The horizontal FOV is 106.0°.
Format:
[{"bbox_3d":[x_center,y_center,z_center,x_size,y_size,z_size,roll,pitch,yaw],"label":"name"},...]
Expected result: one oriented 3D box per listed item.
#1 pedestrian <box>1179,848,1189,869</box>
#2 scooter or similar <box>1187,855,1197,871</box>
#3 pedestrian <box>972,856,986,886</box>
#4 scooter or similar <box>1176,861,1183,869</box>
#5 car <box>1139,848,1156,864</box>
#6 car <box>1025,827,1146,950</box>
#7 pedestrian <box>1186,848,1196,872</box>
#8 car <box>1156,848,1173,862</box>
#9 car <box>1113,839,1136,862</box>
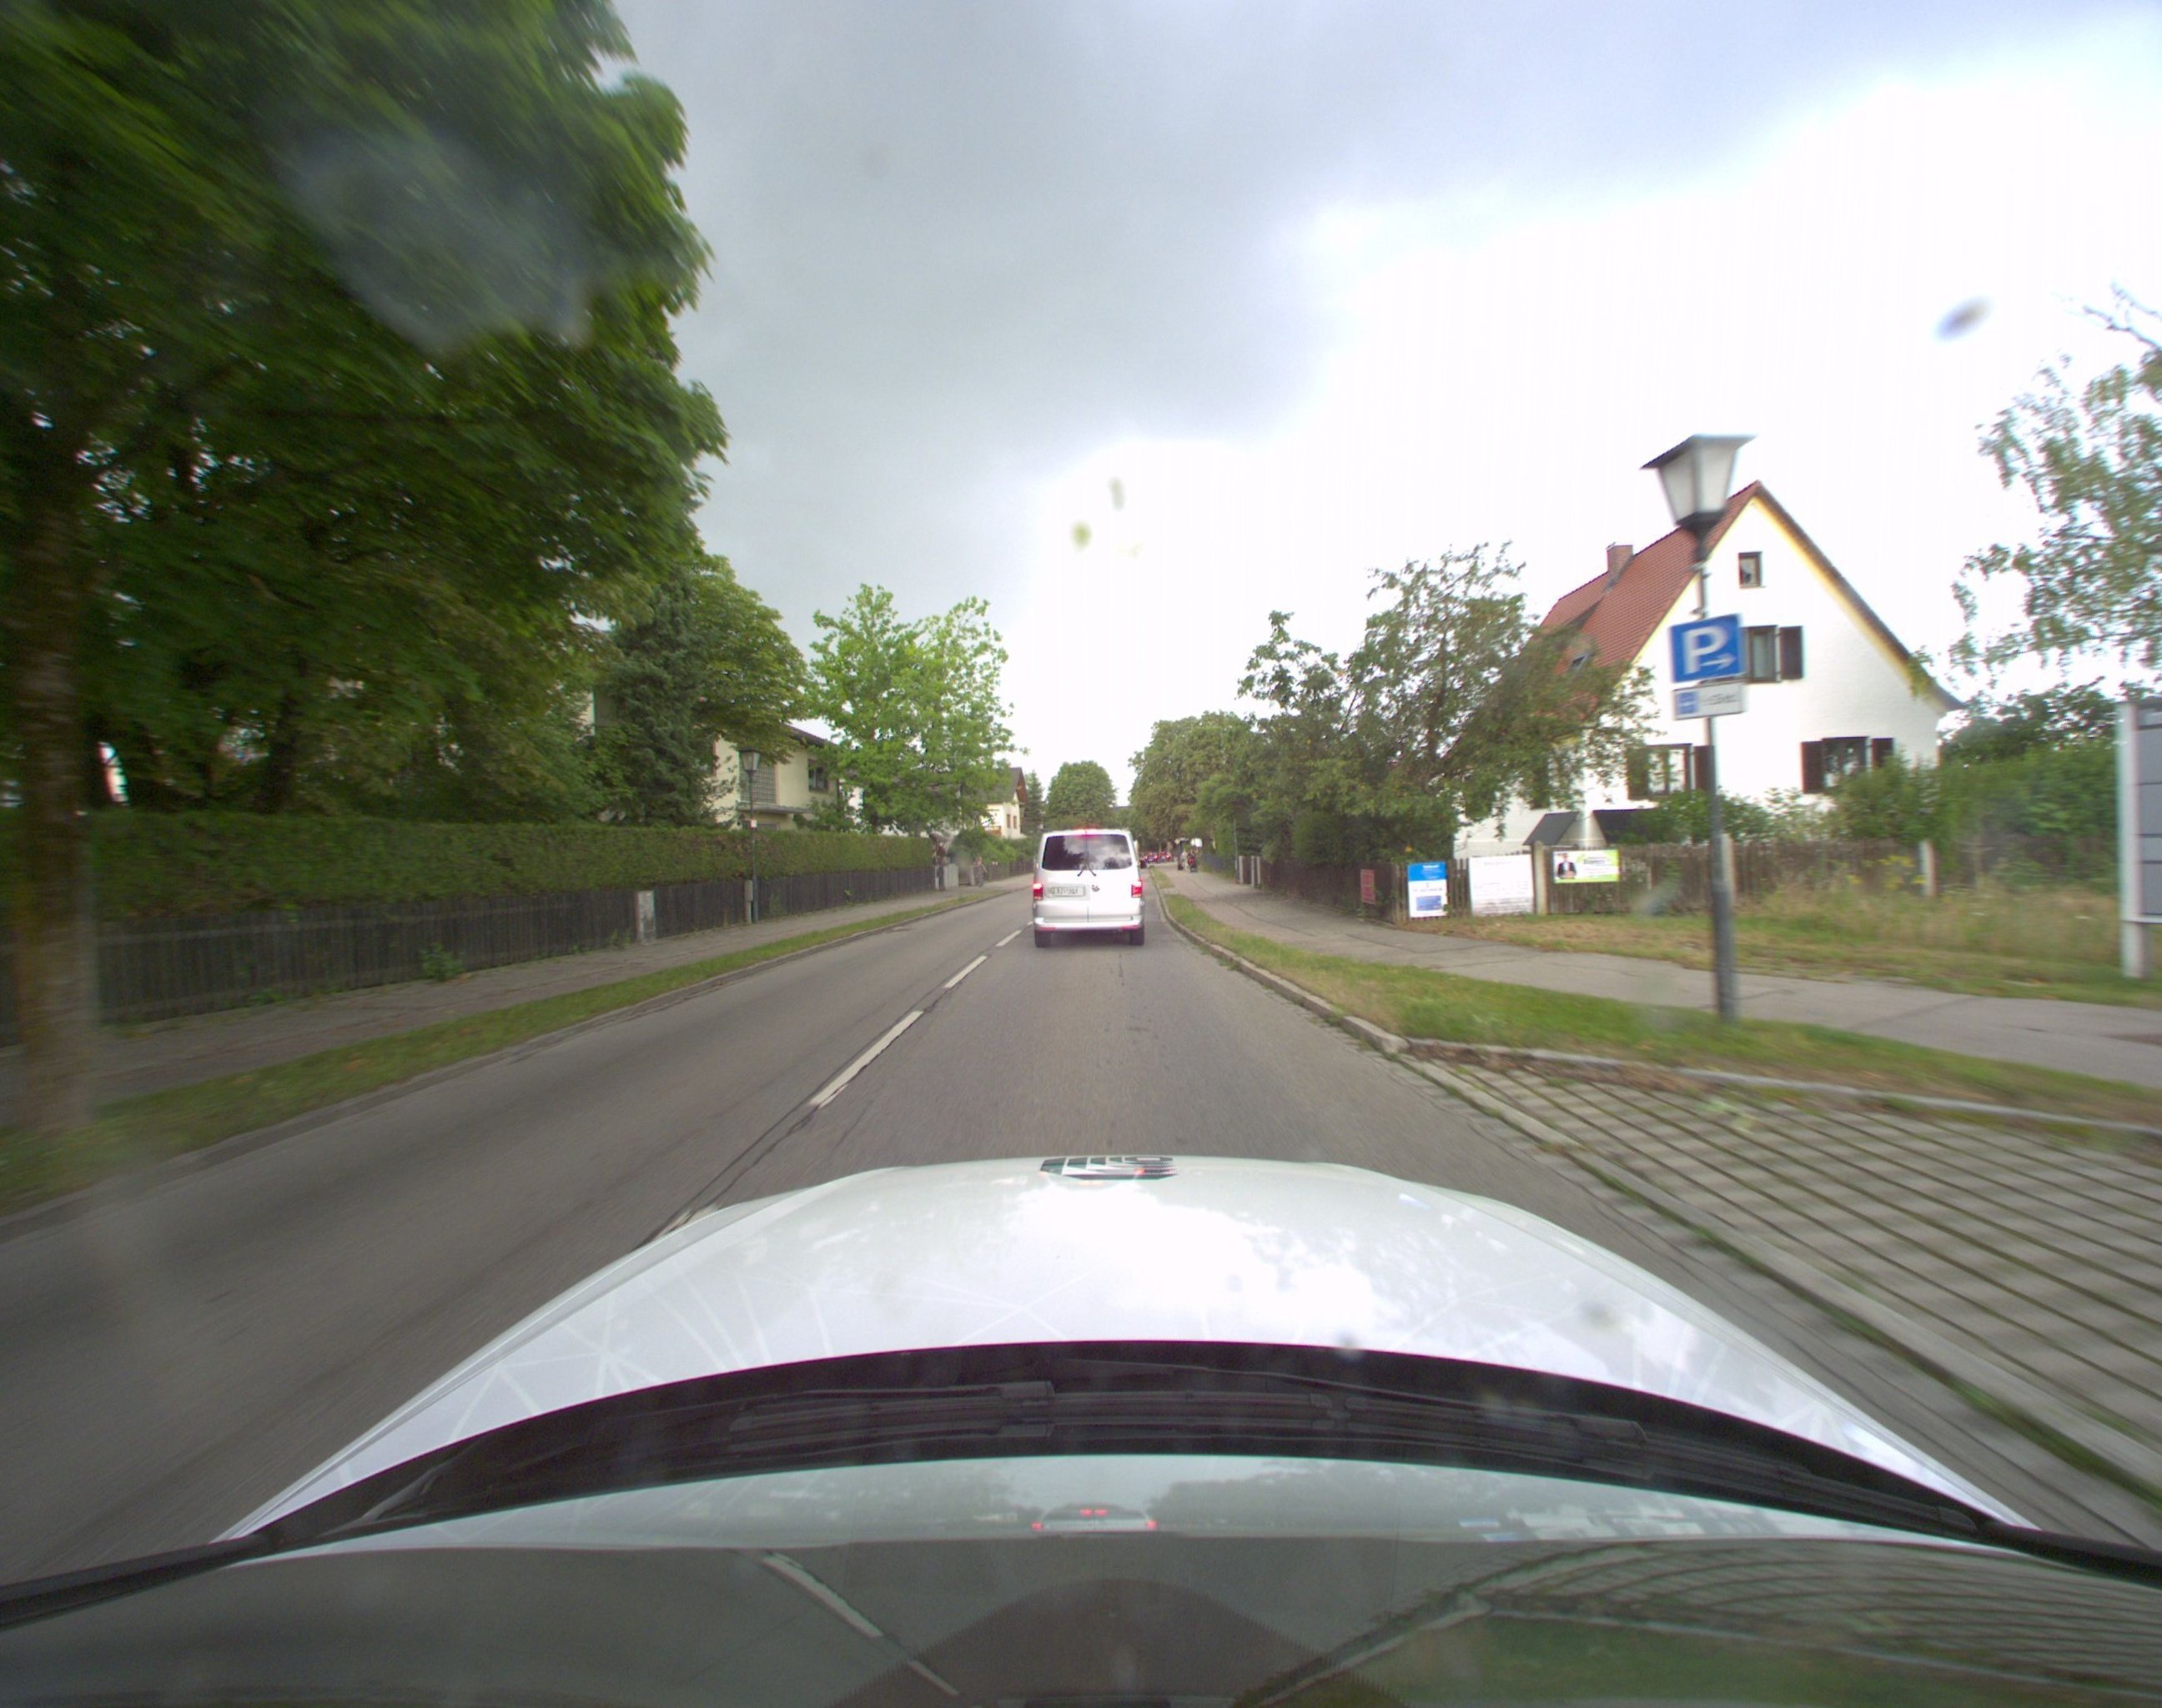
[{"bbox_3d":[7.486,0.318,59.127,0.620,1.523,0.579,0,-1,0],"label":"pedestrian"},{"bbox_3d":[6.917,0.577,50.764,0.550,0.971,0.620,0,0,0],"label":"scooter or similar"},{"bbox_3d":[-5.152,0.857,41.252,0.624,1.549,0.519,0,-1,-19],"label":"pedestrian"},{"bbox_3d":[7.231,0.816,59.706,0.473,0.545,0.458,0,0,0],"label":"scooter or similar"},{"bbox_3d":[8.827,0.263,107.471,1.983,2.013,4.008,-2,0,7],"label":"car"},{"bbox_3d":[0.190,0.554,14.920,1.880,1.912,4.004,-1,0,3],"label":"car"},{"bbox_3d":[6.923,0.384,51.451,0.550,1.549,0.612,0,-1,0],"label":"pedestrian"},{"bbox_3d":[12.072,0.123,117.439,1.981,2.013,4.012,-2,0,10],"label":"car"},{"bbox_3d":[4.112,-0.311,76.514,1.984,2.014,4.005,0,0,5],"label":"car"}]
